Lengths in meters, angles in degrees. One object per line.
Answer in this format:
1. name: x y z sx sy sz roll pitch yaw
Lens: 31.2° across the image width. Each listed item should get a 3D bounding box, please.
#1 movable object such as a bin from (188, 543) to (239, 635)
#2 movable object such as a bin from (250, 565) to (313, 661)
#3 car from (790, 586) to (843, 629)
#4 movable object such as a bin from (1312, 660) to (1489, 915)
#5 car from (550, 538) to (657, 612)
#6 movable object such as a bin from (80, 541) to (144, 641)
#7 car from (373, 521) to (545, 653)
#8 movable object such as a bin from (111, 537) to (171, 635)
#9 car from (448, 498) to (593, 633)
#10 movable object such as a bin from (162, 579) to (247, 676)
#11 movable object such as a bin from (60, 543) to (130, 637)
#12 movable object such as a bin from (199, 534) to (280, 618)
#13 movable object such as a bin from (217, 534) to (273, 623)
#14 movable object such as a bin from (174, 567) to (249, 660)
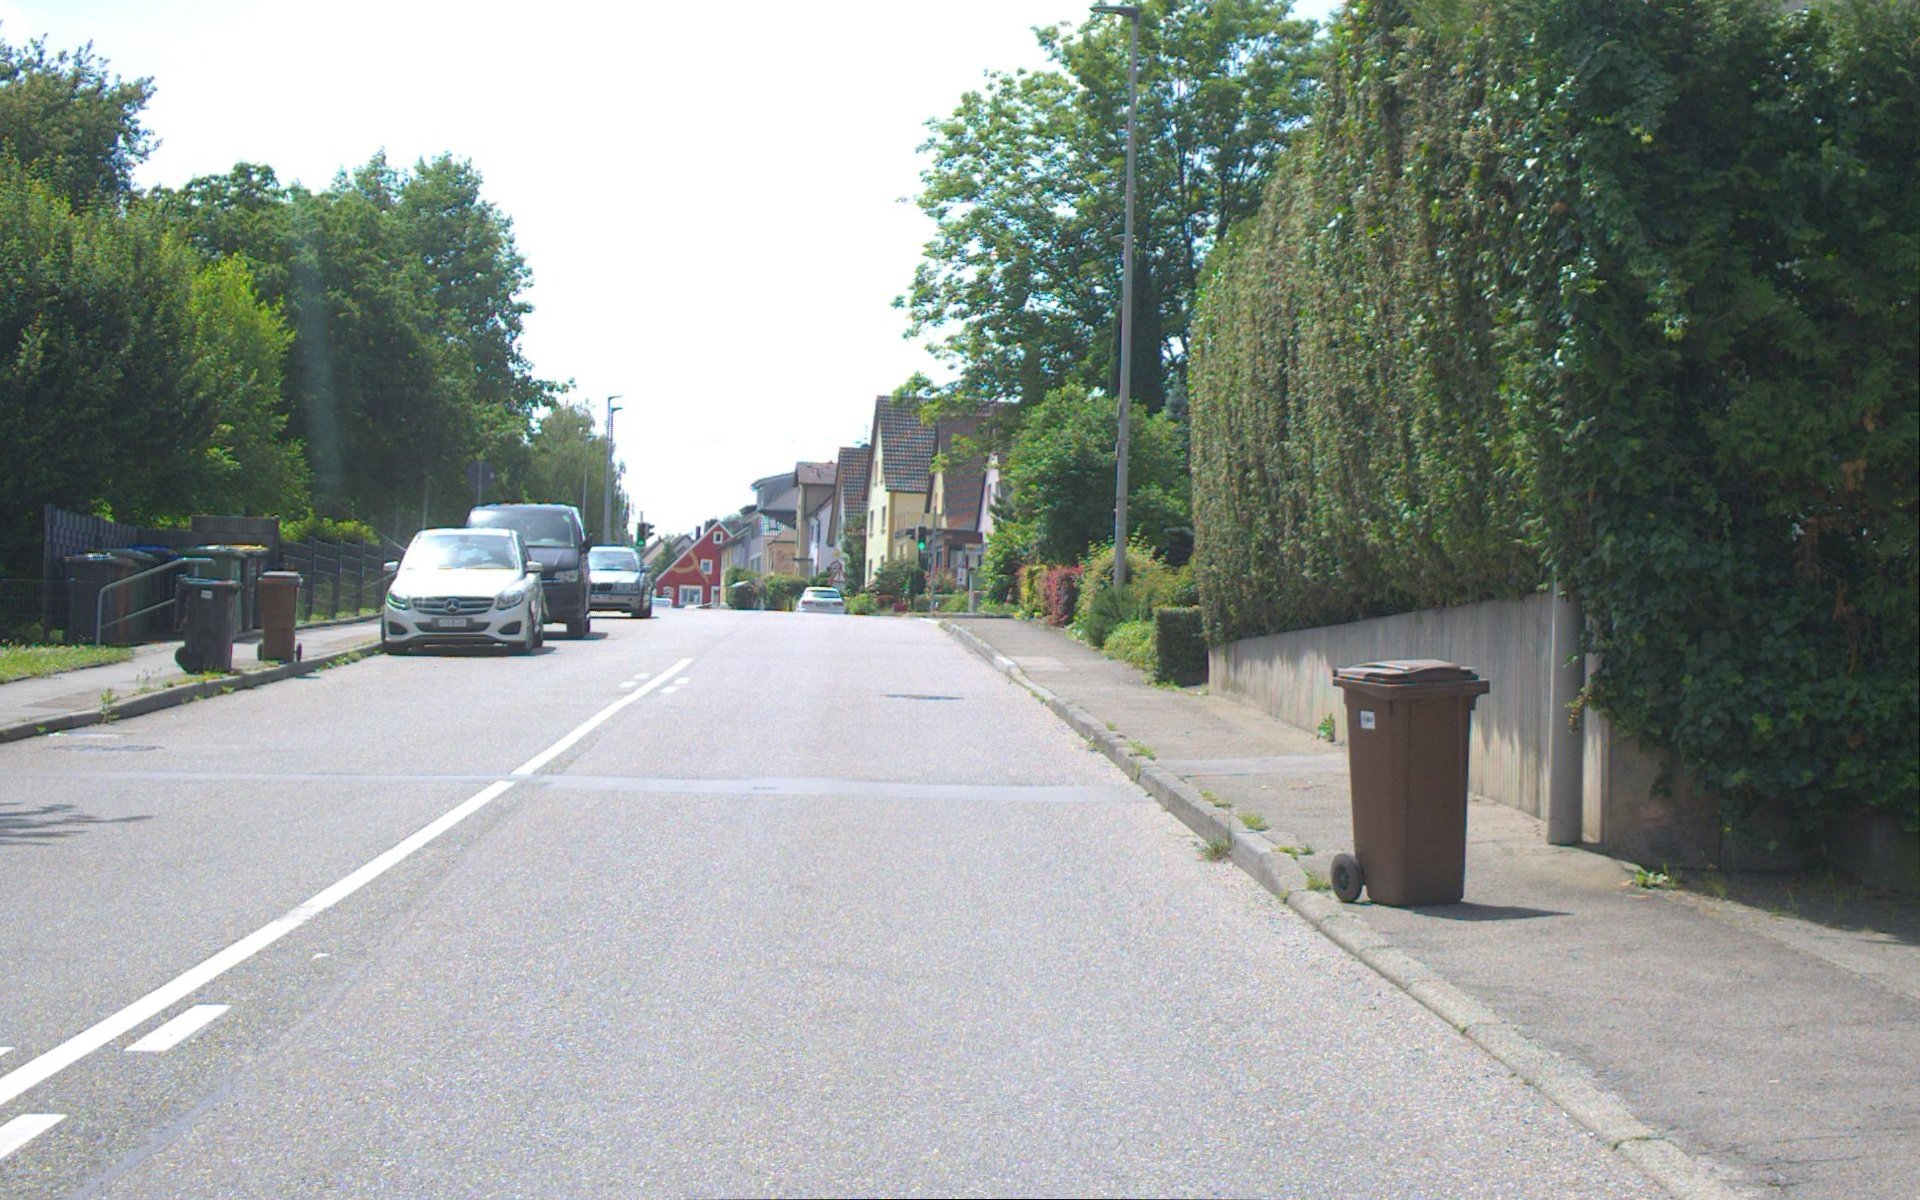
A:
1. movable object such as a bin: -9.024 -0.137 41.570 0.516 1.100 0.529 1 1 -3
2. movable object such as a bin: -7.126 0.132 36.111 0.506 0.985 0.563 1 1 5
3. car: -5.582 0.289 133.554 1.993 1.598 4.001 1 1 -3
4. movable object such as a bin: 1.783 0.748 13.986 0.588 0.974 0.786 -1 1 -2
5. car: -7.023 -0.480 68.010 1.780 1.390 4.409 1 0 -2
6. movable object such as a bin: -10.104 -0.108 40.994 0.547 1.174 0.674 1 1 3
7. car: -6.321 -0.202 43.766 1.811 1.544 4.244 2 1 -4
8. movable object such as a bin: -9.963 -0.174 41.837 0.476 1.174 0.840 1 1 3
9. car: -6.496 -0.535 51.216 1.896 1.913 4.871 0 1 -4
10. movable object such as a bin: -7.340 0.261 33.429 0.619 0.914 0.686 1 1 5
11. movable object such as a bin: -10.127 -0.119 40.263 0.603 1.092 0.650 1 1 5
12. movable object such as a bin: -9.295 -0.311 44.366 0.899 1.066 0.695 1 1 -2
13. movable object such as a bin: -8.939 -0.262 42.989 0.497 1.101 0.710 0 0 5
14. movable object such as a bin: -7.527 0.133 34.597 0.563 0.914 0.642 1 1 5
